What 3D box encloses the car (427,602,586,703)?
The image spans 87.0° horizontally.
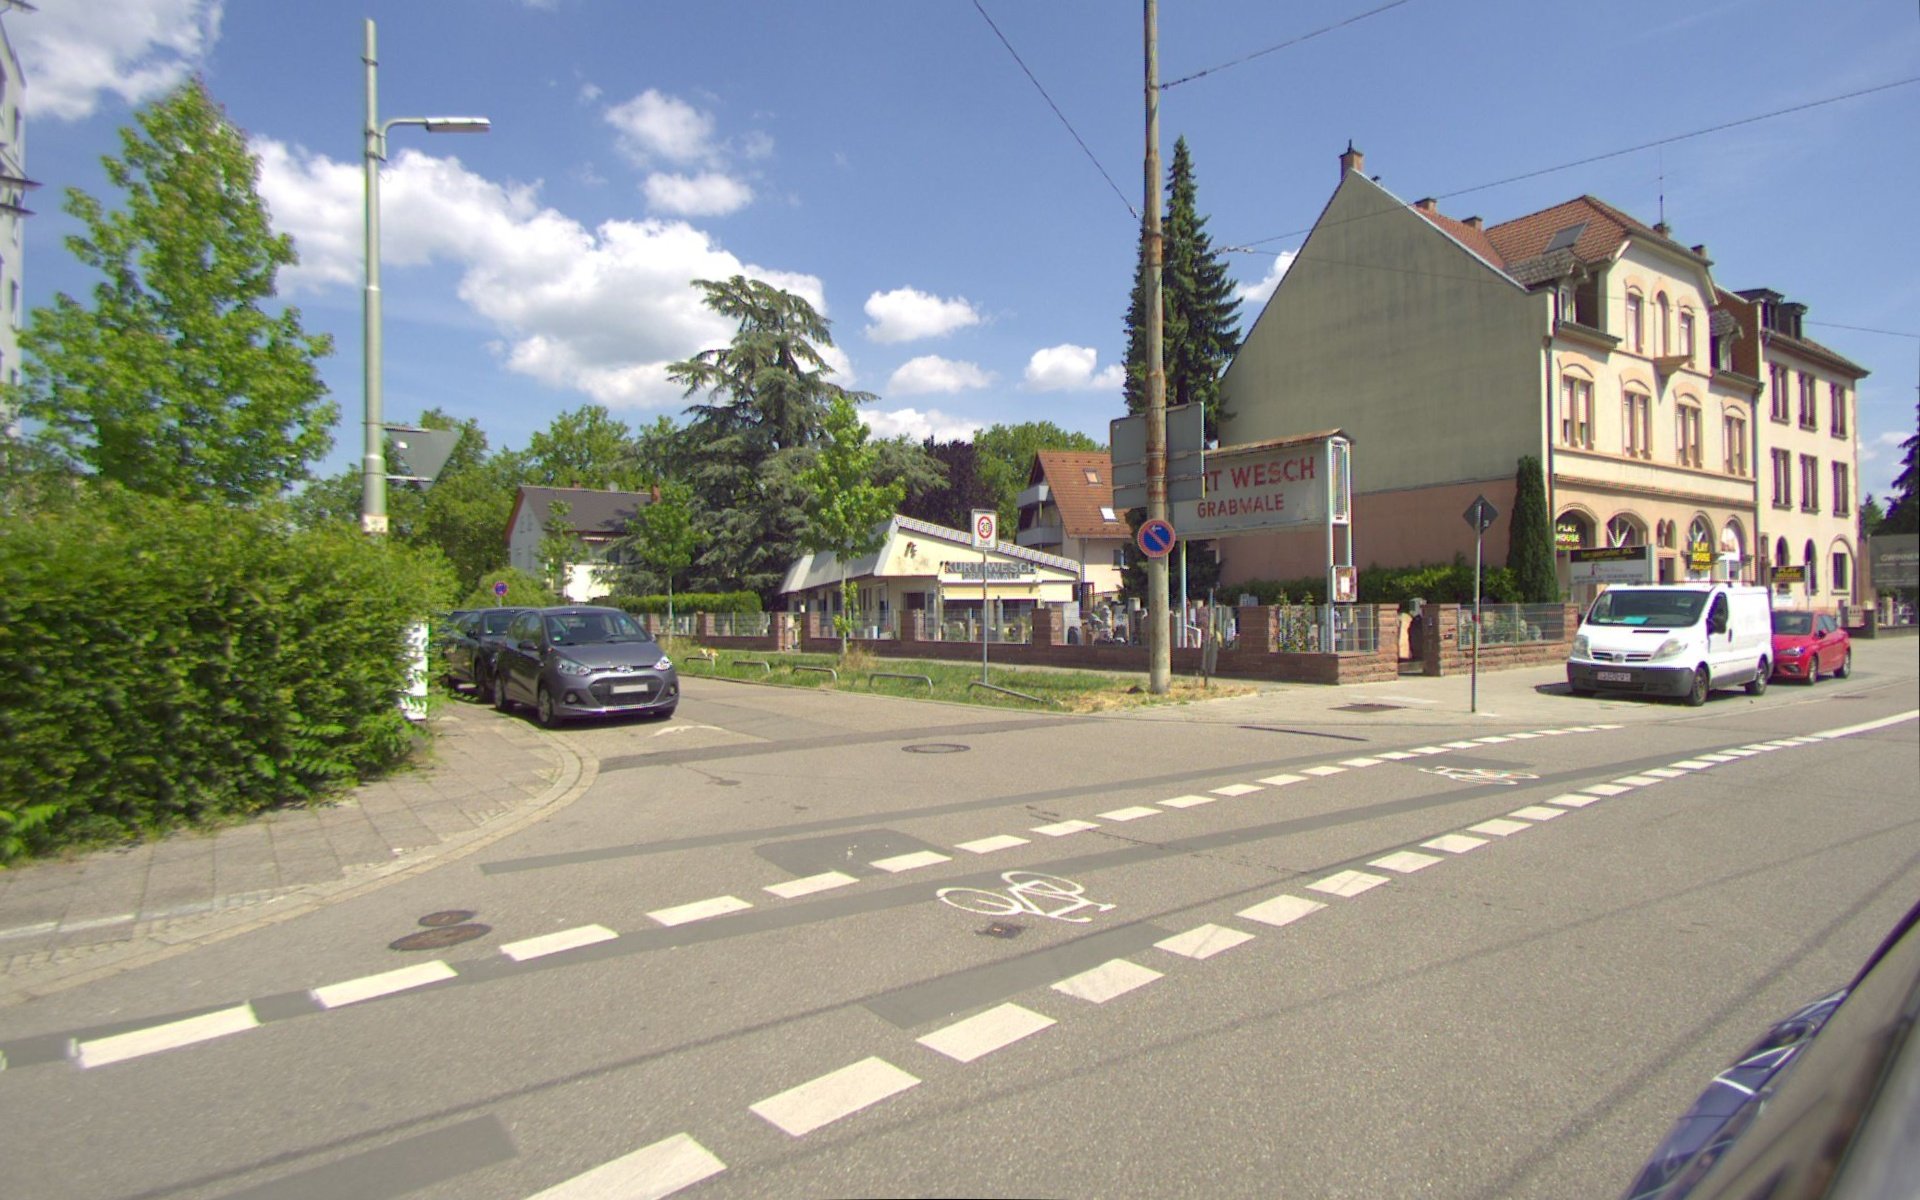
[{"bbox_3d":[-8.067,0.852,17.791,1.726,1.543,3.997,0,-1,-37],"label":"car"}]

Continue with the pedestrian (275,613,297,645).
[{"bbox_3d":[-37.206,1.608,55.895,0.984,1.739,0.789,0,-4,-36],"label":"pedestrian"}]

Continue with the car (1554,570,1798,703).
[{"bbox_3d":[12.739,0.532,17.858,5.412,2.017,1.999,0,1,-37],"label":"car"}]

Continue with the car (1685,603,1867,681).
[{"bbox_3d":[17.124,0.830,21.210,3.942,1.461,1.999,0,-2,-36],"label":"car"}]

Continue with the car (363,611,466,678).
[{"bbox_3d":[-13.889,1.086,25.672,1.726,1.519,3.997,-1,-1,-37],"label":"car"}]

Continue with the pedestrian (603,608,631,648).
[{"bbox_3d":[-14.670,1.198,43.273,0.776,1.681,1.000,1,-4,-42],"label":"pedestrian"}]

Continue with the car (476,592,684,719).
[{"bbox_3d":[-5.269,0.680,13.777,1.726,1.470,3.610,0,-1,-37],"label":"car"}]

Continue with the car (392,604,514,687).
[{"bbox_3d":[-11.236,0.959,22.307,1.726,1.626,3.997,-1,-1,-37],"label":"car"}]
